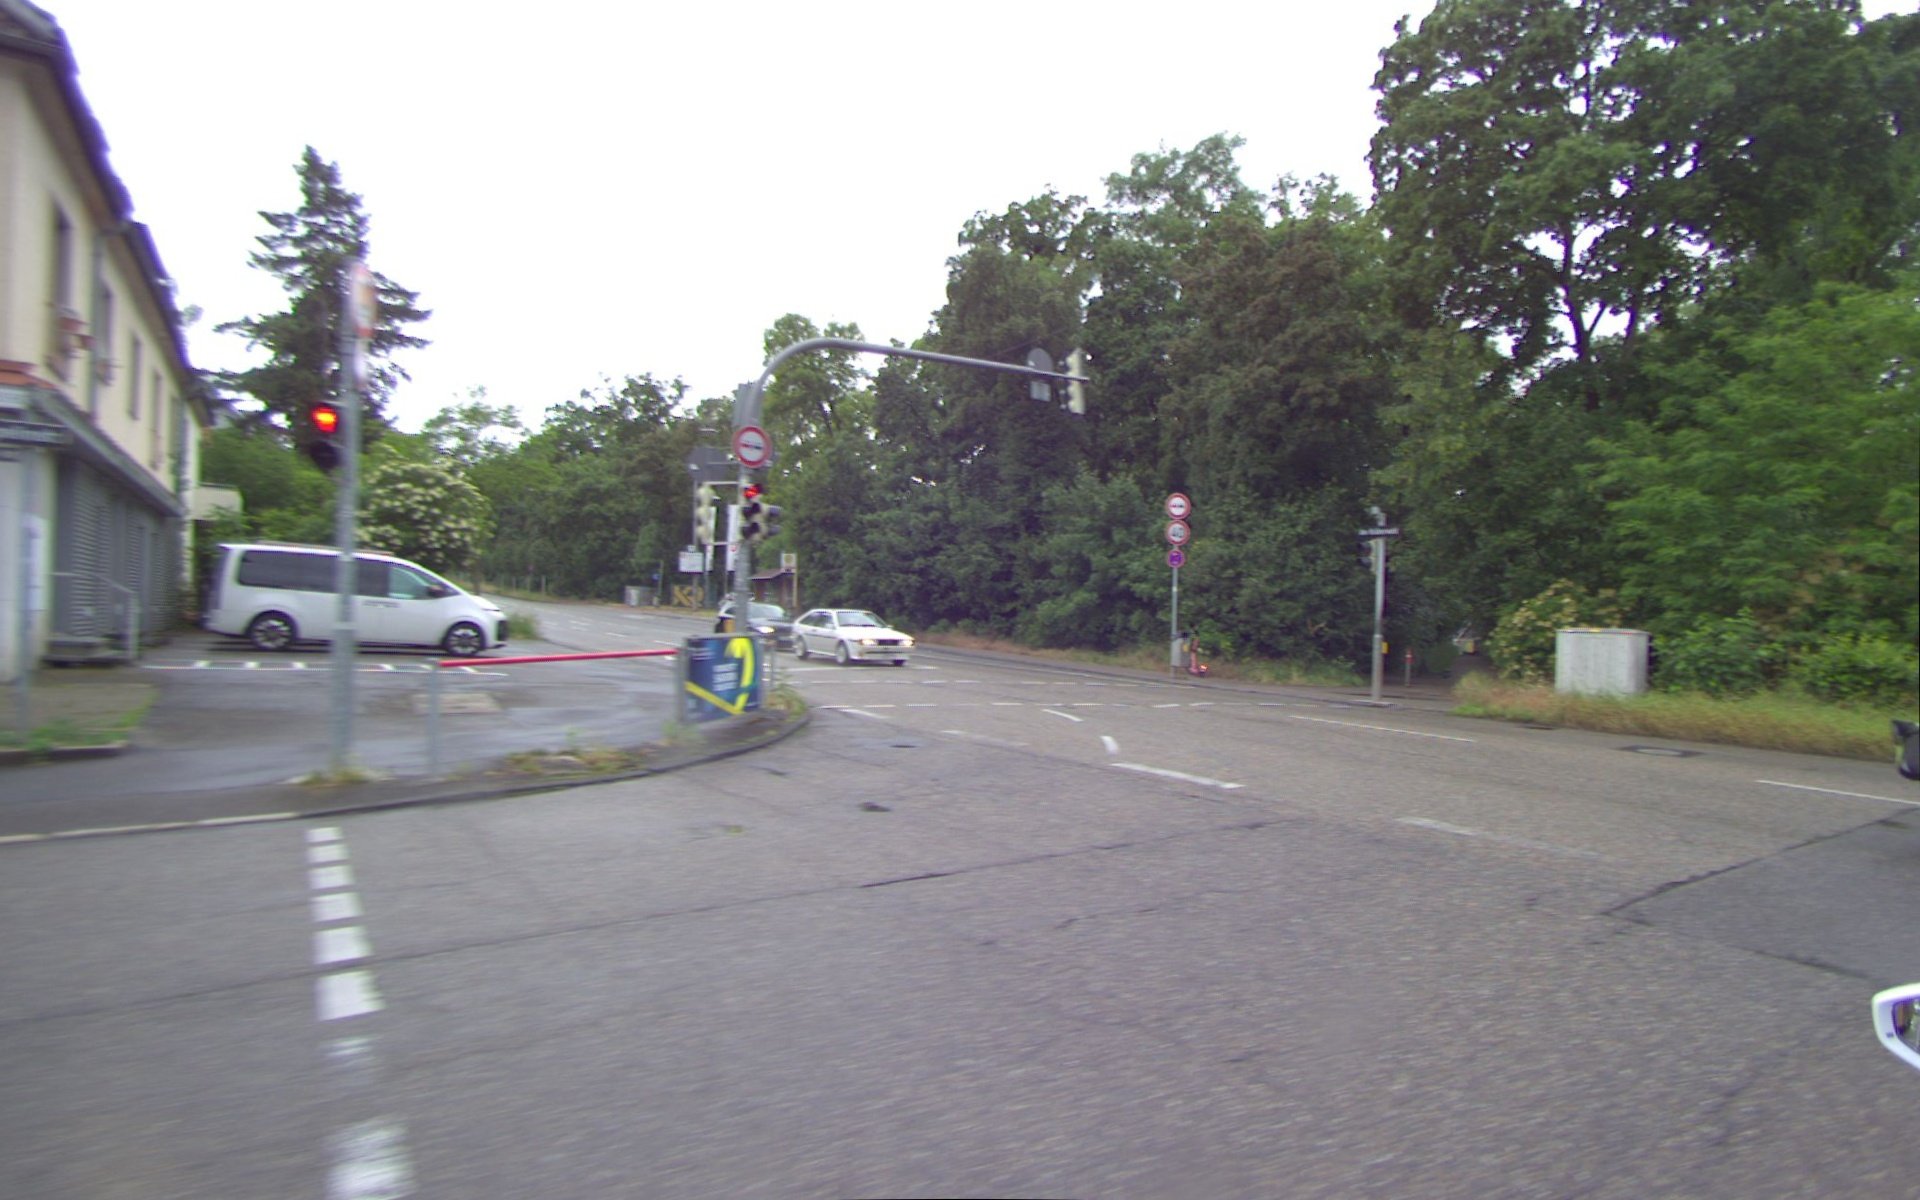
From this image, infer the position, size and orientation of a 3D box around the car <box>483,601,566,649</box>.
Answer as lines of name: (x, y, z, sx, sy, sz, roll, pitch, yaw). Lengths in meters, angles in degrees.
car: (-14.570, 0.811, 33.491, 1.982, 1.372, 3.965, 2, 1, -32)

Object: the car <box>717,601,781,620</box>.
car: (-14.272, 0.721, 67.965, 3.959, 1.216, 1.590, 2, 0, -35)

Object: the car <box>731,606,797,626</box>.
car: (-12.811, 1.039, 65.702, 3.959, 1.216, 1.590, 2, 0, -35)

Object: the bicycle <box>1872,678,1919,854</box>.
bicycle: (7.183, 1.112, 7.001, 2.128, 1.111, 0.575, 1, 0, -30)

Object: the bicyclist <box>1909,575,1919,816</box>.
bicyclist: (7.253, 0.676, 7.037, 1.036, 1.674, 0.576, 1, 0, -30)

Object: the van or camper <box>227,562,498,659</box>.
van or camper: (-13.592, 0.270, 23.152, 5.124, 2.040, 1.983, 2, 0, -32)

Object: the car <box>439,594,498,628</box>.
car: (-22.377, 0.474, 45.645, 1.982, 1.372, 3.965, 2, 1, -32)

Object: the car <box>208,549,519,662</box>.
car: (-11.827, 0.149, 20.284, 5.122, 2.040, 1.984, 2, 0, -31)

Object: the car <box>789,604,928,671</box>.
car: (-2.572, 0.880, 24.608, 1.805, 1.372, 3.965, 2, 1, -32)

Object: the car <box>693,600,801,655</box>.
car: (-6.289, 0.774, 29.348, 1.805, 1.372, 3.965, 2, 1, -32)
